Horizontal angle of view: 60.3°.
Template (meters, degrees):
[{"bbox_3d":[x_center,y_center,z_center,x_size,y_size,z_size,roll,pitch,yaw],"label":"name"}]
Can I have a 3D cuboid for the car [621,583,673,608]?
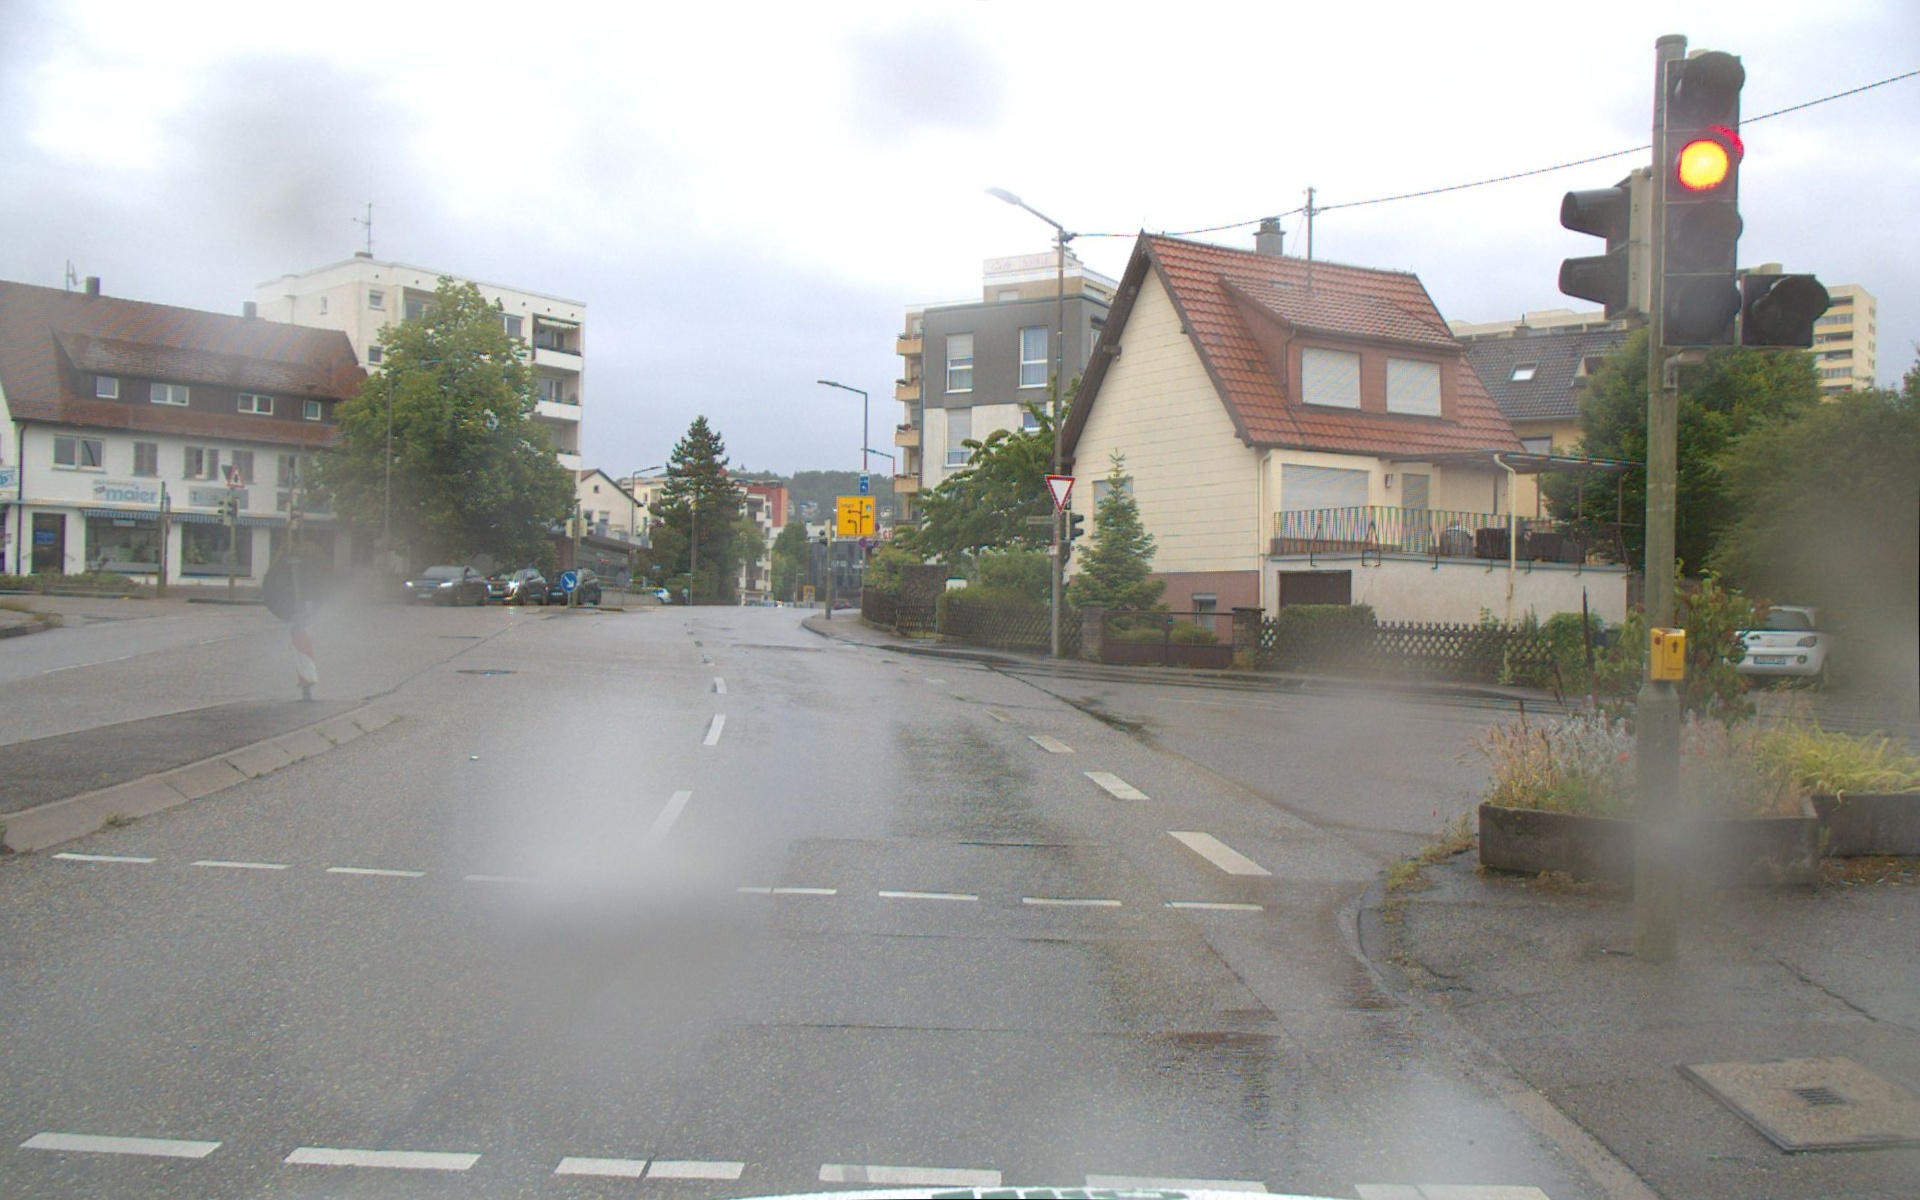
[{"bbox_3d":[-24.608,-0.386,130.141,3.773,1.847,1.760,1,1,-4],"label":"car"}]

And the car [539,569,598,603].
[{"bbox_3d":[-17.486,-0.656,73.967,1.742,1.445,3.830,1,1,-1],"label":"car"}]

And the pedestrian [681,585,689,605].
[{"bbox_3d":[-22.770,-0.397,136.951,0.486,1.687,0.434,1,0,8],"label":"pedestrian"}]

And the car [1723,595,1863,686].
[{"bbox_3d":[15.533,0.702,30.753,1.710,1.541,3.985,2,1,36],"label":"car"}]

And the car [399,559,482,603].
[{"bbox_3d":[-18.411,-0.680,58.767,1.742,1.445,3.830,1,1,-1],"label":"car"}]

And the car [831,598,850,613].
[{"bbox_3d":[-12.866,0.603,178.335,1.776,1.512,4.189,0,1,0],"label":"car"}]

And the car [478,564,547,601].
[{"bbox_3d":[-17.830,-0.695,66.088,1.680,1.411,4.020,1,1,-1],"label":"car"}]

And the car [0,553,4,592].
[{"bbox_3d":[-40.734,-1.156,66.193,3.938,1.599,1.842,1,1,-45],"label":"car"}]
